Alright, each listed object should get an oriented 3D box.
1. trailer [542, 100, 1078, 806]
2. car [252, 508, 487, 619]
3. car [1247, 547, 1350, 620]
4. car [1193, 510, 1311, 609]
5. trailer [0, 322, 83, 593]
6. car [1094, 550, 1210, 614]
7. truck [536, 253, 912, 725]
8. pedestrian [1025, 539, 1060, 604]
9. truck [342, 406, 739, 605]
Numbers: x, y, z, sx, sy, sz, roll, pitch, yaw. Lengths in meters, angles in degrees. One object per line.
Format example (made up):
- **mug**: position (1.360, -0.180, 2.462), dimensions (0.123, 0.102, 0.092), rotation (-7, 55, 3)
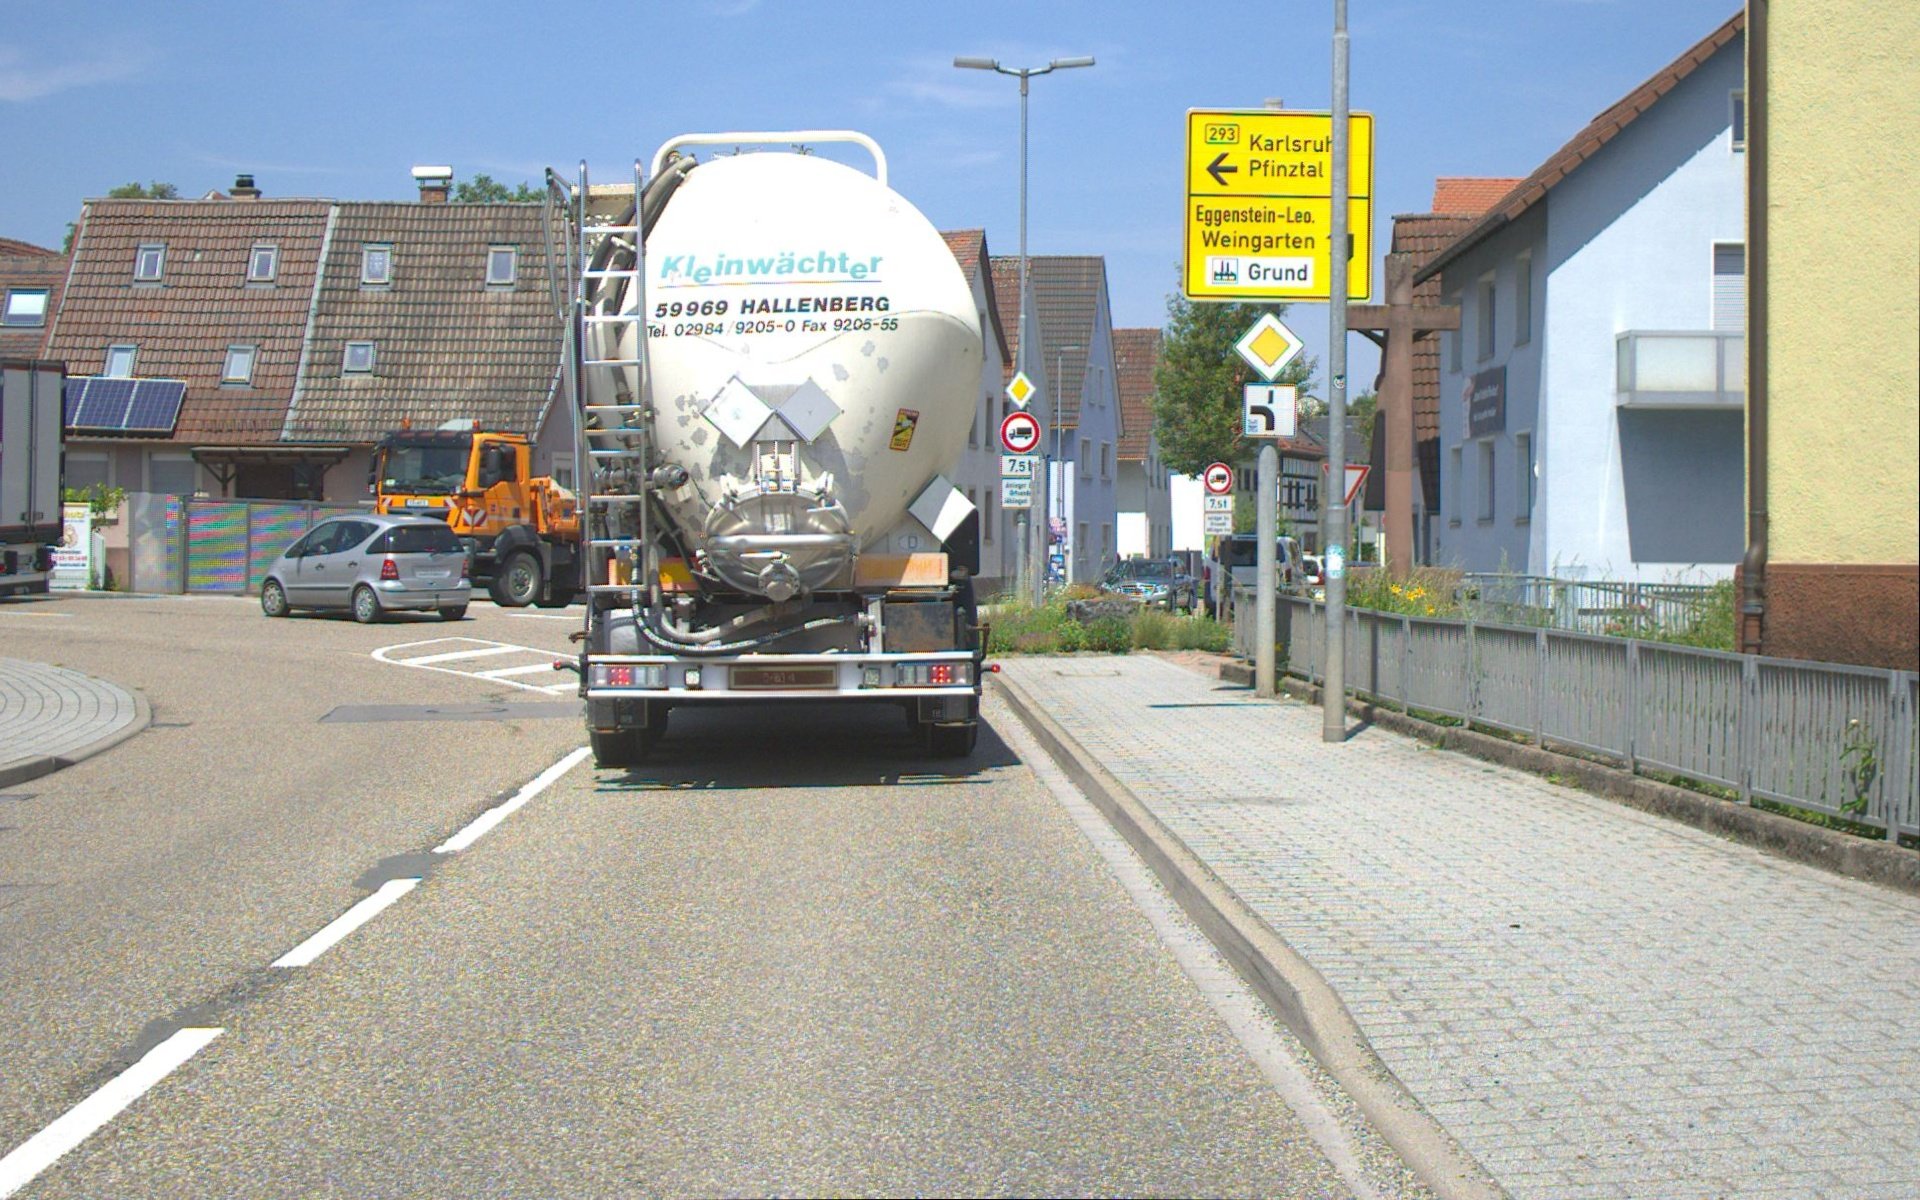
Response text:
- **trailer**: position (-1.470, -0.911, 25.416), dimensions (2.952, 3.934, 11.621), rotation (2, 1, -6)
- **car**: position (-8.727, -0.547, 50.618), dimensions (1.783, 1.579, 3.604), rotation (0, 1, -41)
- **car**: position (7.812, -0.394, 79.072), dimensions (1.818, 1.629, 4.205), rotation (1, 1, 13)
- **car**: position (6.151, -0.817, 72.045), dimensions (1.994, 1.906, 4.322), rotation (1, -1, 11)
- **trailer**: position (-21.012, -2.357, 56.555), dimensions (12.458, 4.262, 3.141), rotation (1, 0, 9)
- **car**: position (5.404, -0.484, 96.285), dimensions (1.996, 1.669, 4.308), rotation (2, 0, 20)
- **truck**: position (-2.365, -0.963, 32.401), dimensions (2.987, 3.951, 5.580), rotation (2, 0, -8)
- **pedestrian**: position (2.584, -0.906, 107.516), dimensions (0.769, 2.007, 0.976), rotation (2, 1, 19)
- **truck**: position (-7.300, -1.579, 60.937), dimensions (2.666, 3.170, 7.447), rotation (1, -1, 34)
